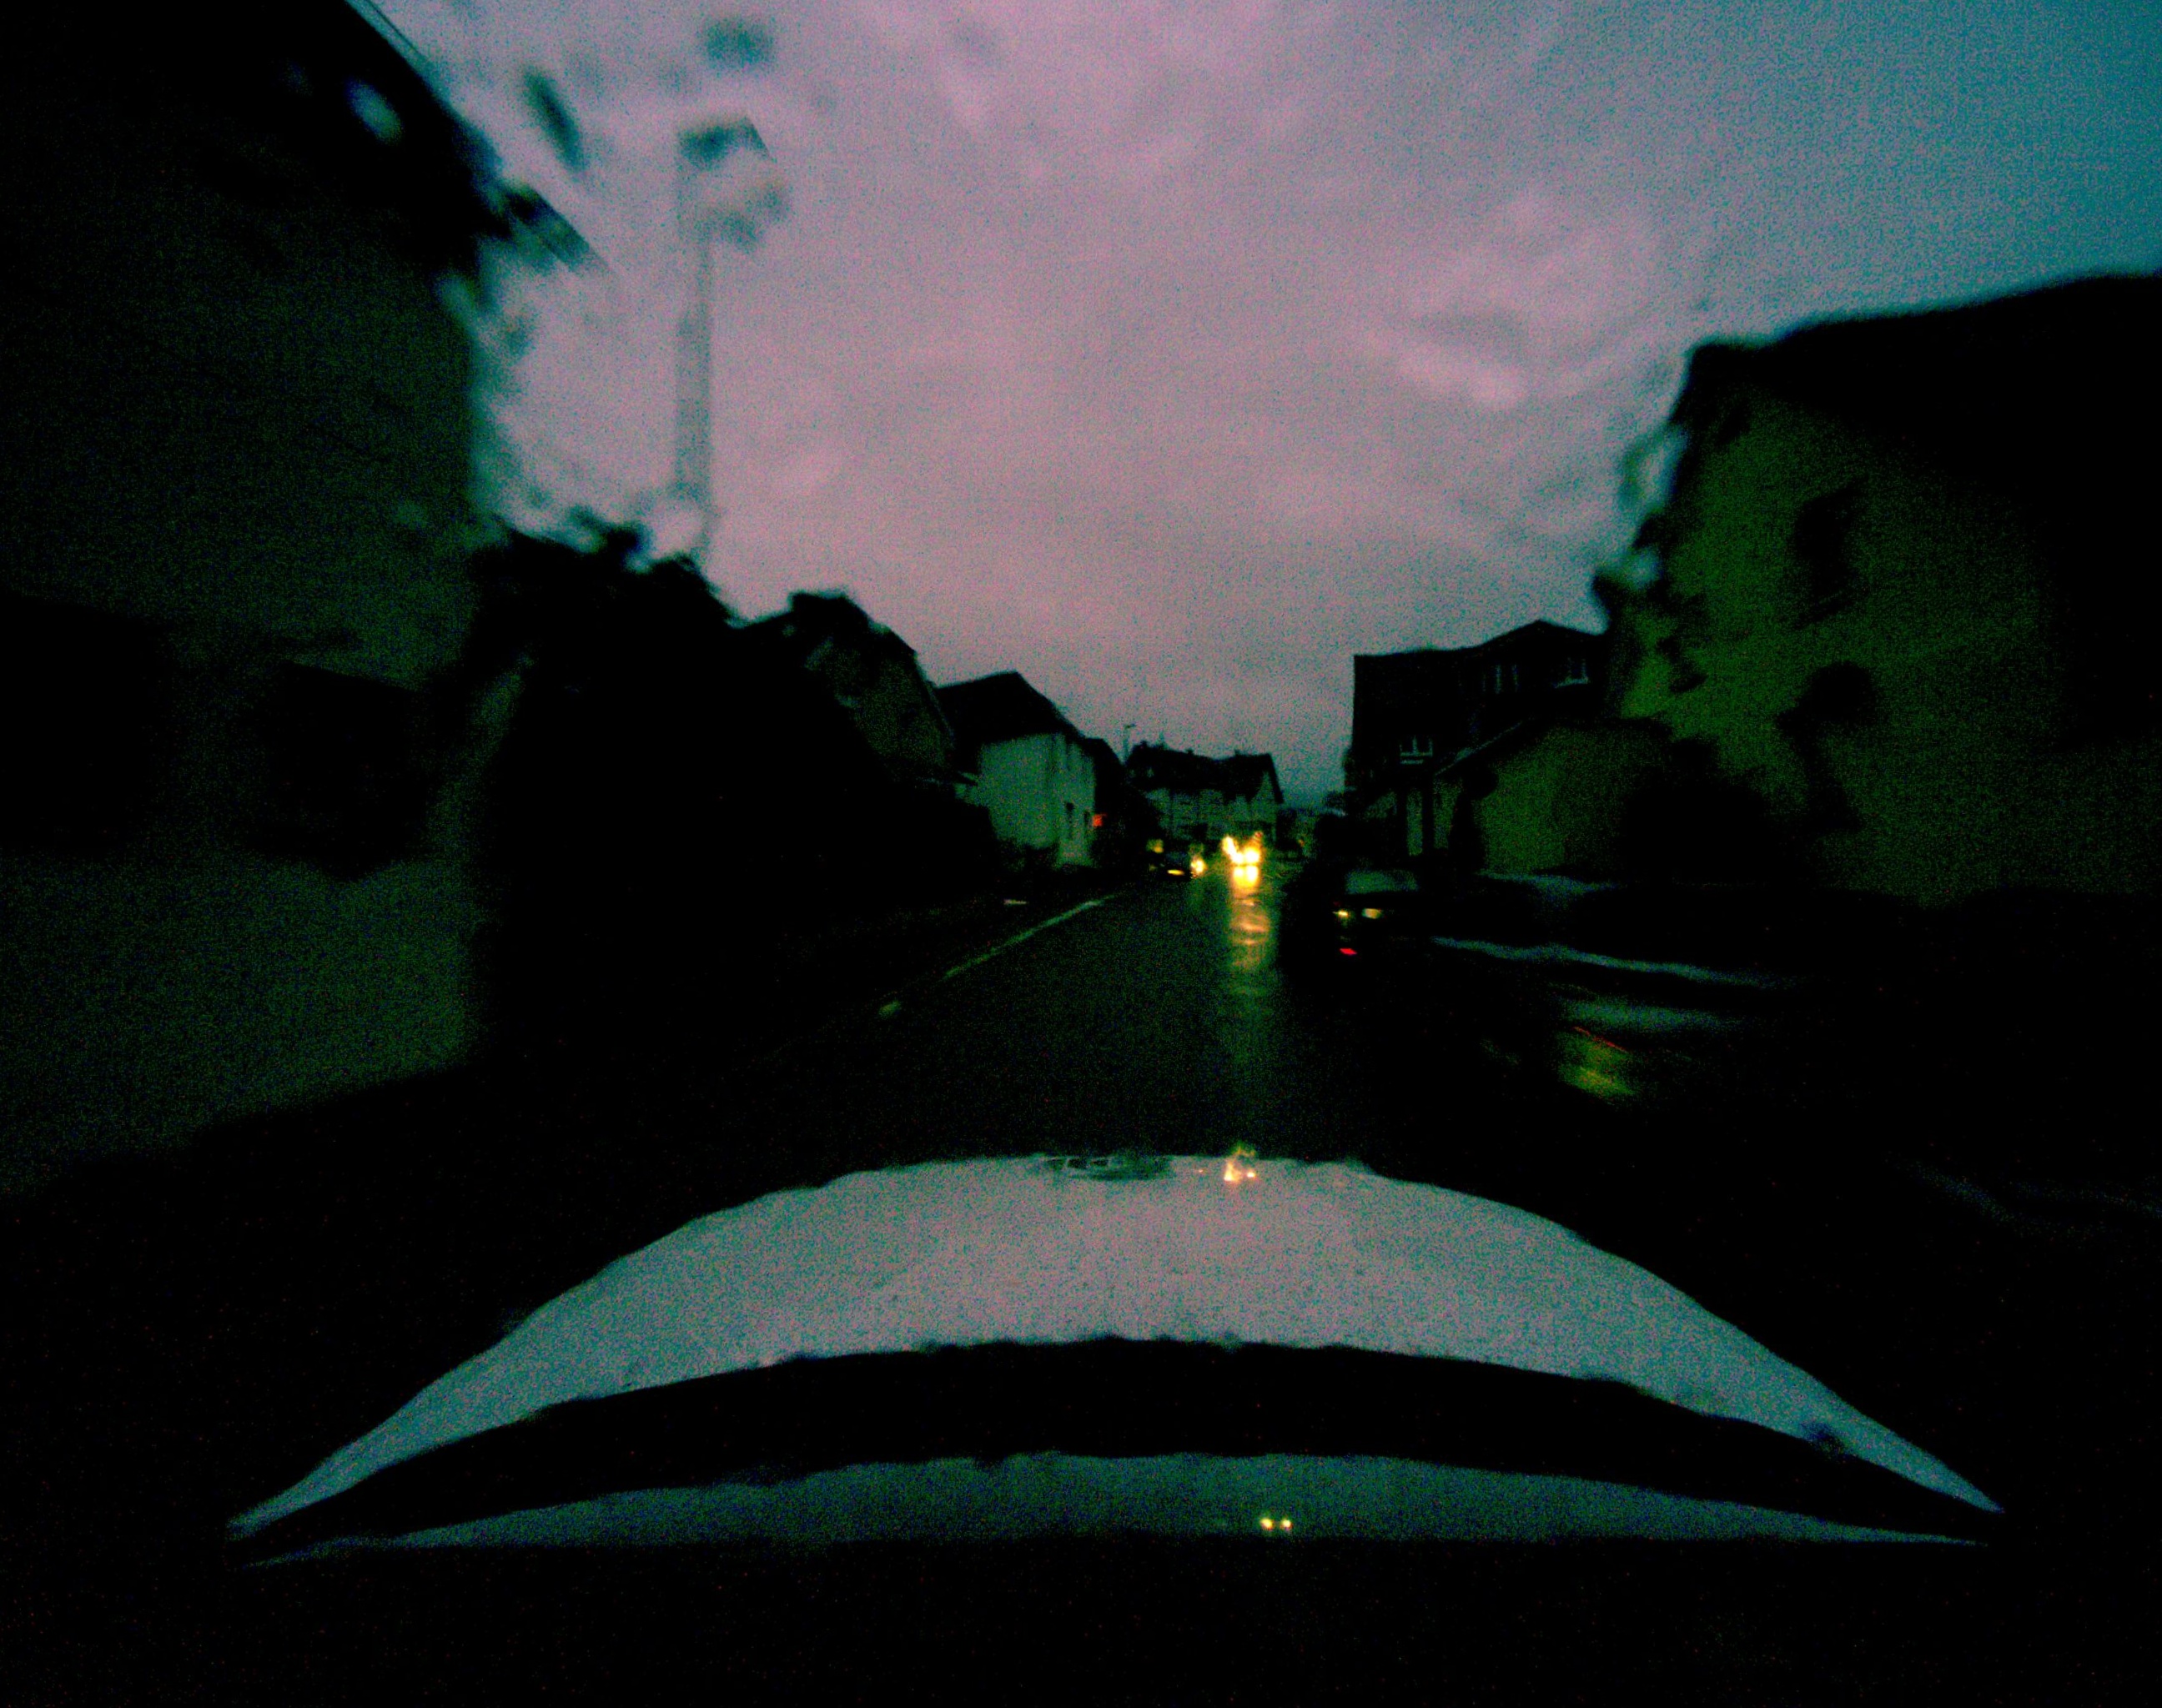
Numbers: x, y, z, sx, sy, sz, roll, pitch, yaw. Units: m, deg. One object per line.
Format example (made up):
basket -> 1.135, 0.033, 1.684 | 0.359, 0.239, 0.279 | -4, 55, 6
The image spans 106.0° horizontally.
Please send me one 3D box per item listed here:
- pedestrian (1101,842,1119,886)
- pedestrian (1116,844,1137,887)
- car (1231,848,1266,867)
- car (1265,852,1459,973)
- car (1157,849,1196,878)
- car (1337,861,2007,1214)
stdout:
pedestrian -> 1.237, 0.423, 34.859 | 0.594, 1.869, 0.814 | -2, -1, 10
pedestrian -> 1.940, 0.474, 34.719 | 0.701, 1.779, 0.814 | -2, -1, 11
car -> 14.762, 0.281, 71.646 | 1.741, 1.580, 4.025 | -2, -1, 29
car -> 3.948, 0.732, 12.295 | 1.717, 1.431, 4.807 | -2, -1, 6
car -> 5.394, 0.505, 45.497 | 1.811, 1.440, 4.080 | -2, 0, 11
car -> 3.176, 0.803, 5.744 | 1.780, 1.439, 4.632 | -2, -1, 7
